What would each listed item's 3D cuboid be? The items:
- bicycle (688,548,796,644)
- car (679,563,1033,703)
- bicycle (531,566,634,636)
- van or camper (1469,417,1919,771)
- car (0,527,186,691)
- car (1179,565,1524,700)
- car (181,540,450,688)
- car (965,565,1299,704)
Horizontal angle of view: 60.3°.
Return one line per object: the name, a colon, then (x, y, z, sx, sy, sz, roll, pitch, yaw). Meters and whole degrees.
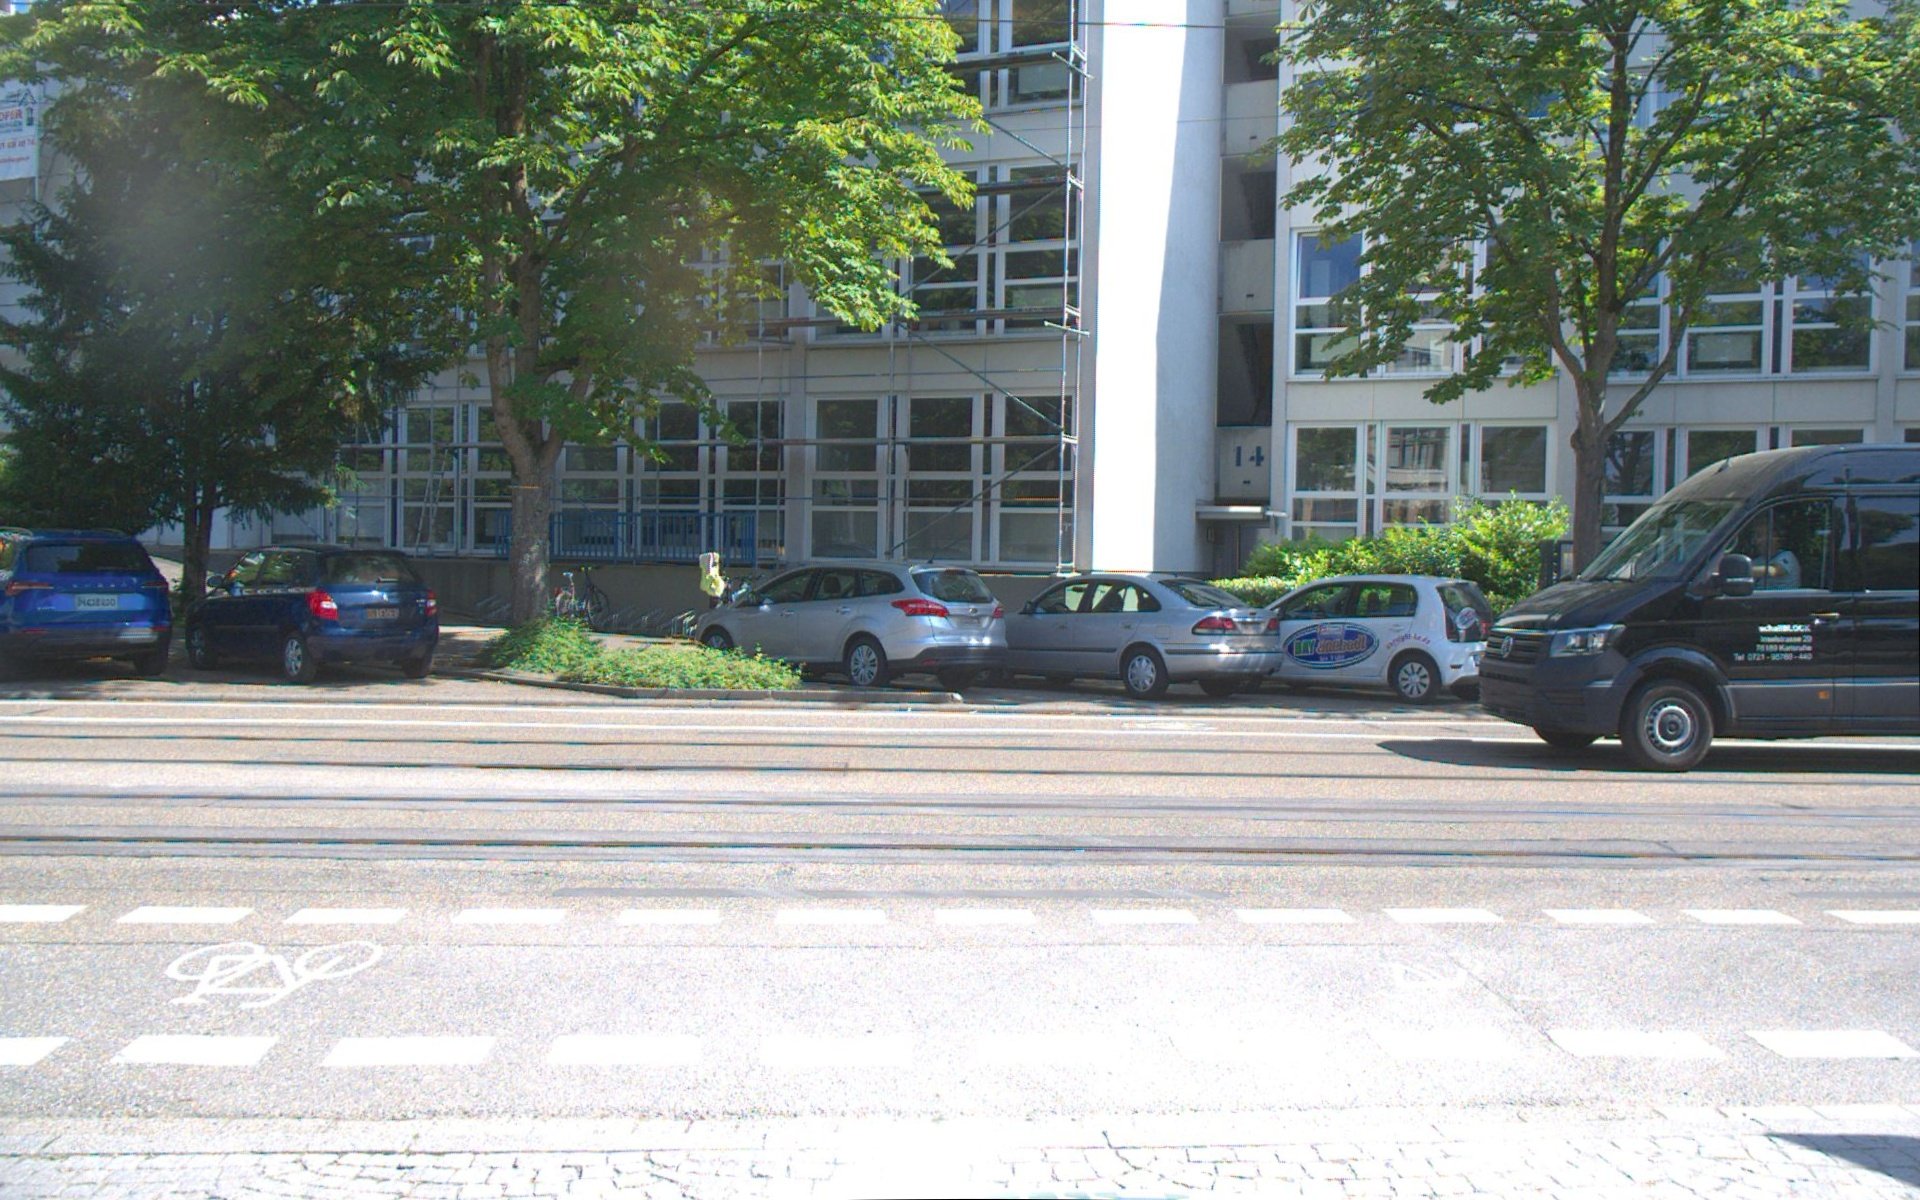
bicycle: (-3.471, -0.087, 26.502, 0.648, 1.479, 2.088, 1, 1, 27)
car: (-1.346, 0.315, 20.072, 4.356, 1.512, 1.774, 1, 2, 42)
bicycle: (-6.191, -0.002, 27.257, 0.725, 1.104, 2.205, 1, 1, 15)
van or camper: (7.400, -0.056, 13.724, 5.728, 2.665, 2.049, 0, 1, -5)
car: (-10.523, 0.005, 19.053, 1.767, 1.650, 3.882, -2, 4, -44)
car: (4.760, 0.348, 20.418, 3.876, 1.512, 1.603, 0, 1, 43)
car: (-7.536, 0.107, 19.239, 3.396, 1.557, 1.567, 1, 2, 42)
car: (2.005, 0.338, 20.006, 3.878, 1.512, 1.602, 1, 2, 44)
